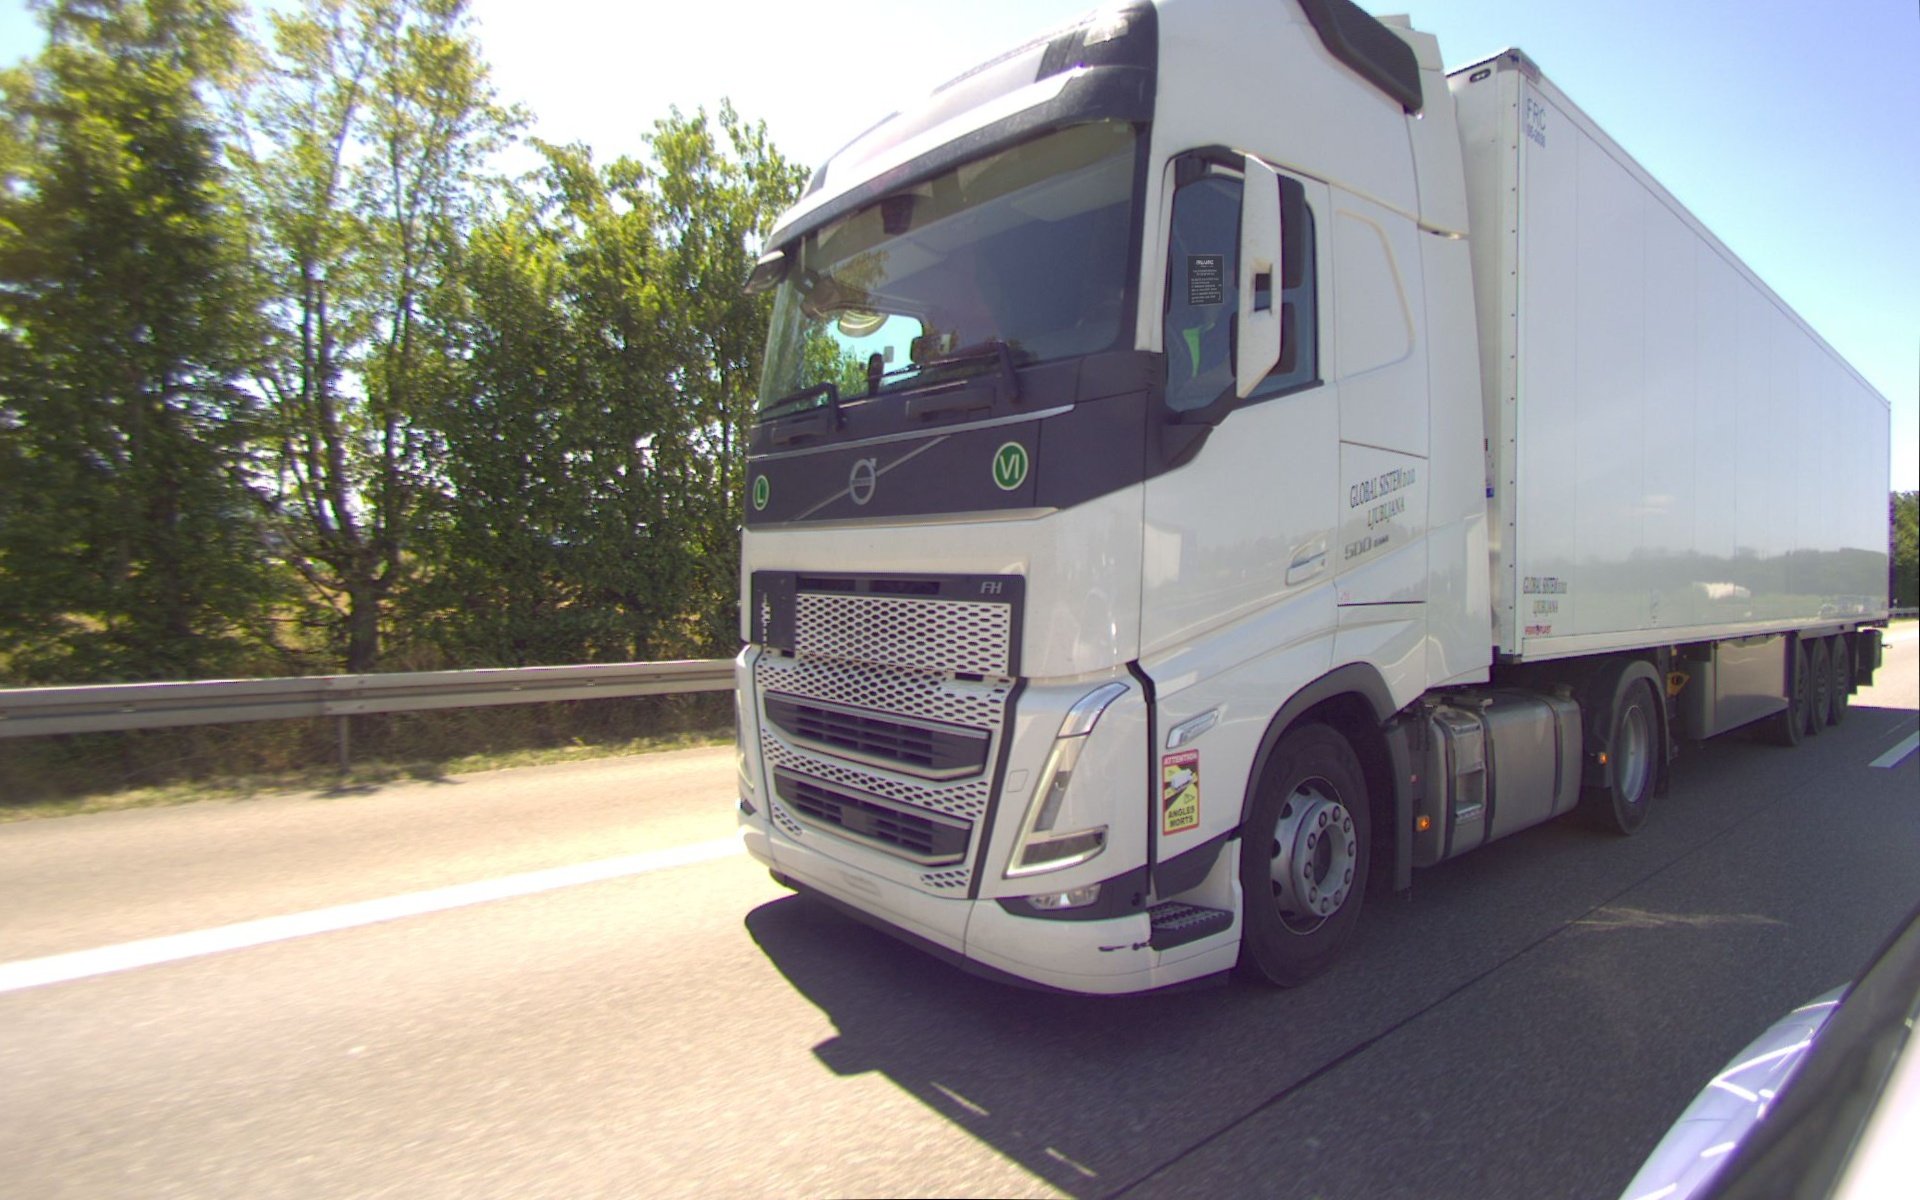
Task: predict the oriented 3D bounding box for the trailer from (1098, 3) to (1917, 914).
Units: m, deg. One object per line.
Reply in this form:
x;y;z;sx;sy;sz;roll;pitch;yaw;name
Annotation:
6.833;-0.713;9.994;13.638;4.113;2.474;-1;0;-41;trailer

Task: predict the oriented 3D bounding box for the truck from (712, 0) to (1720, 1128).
2.001;-0.640;5.775;6.210;4.113;2.474;-1;0;-41;truck
